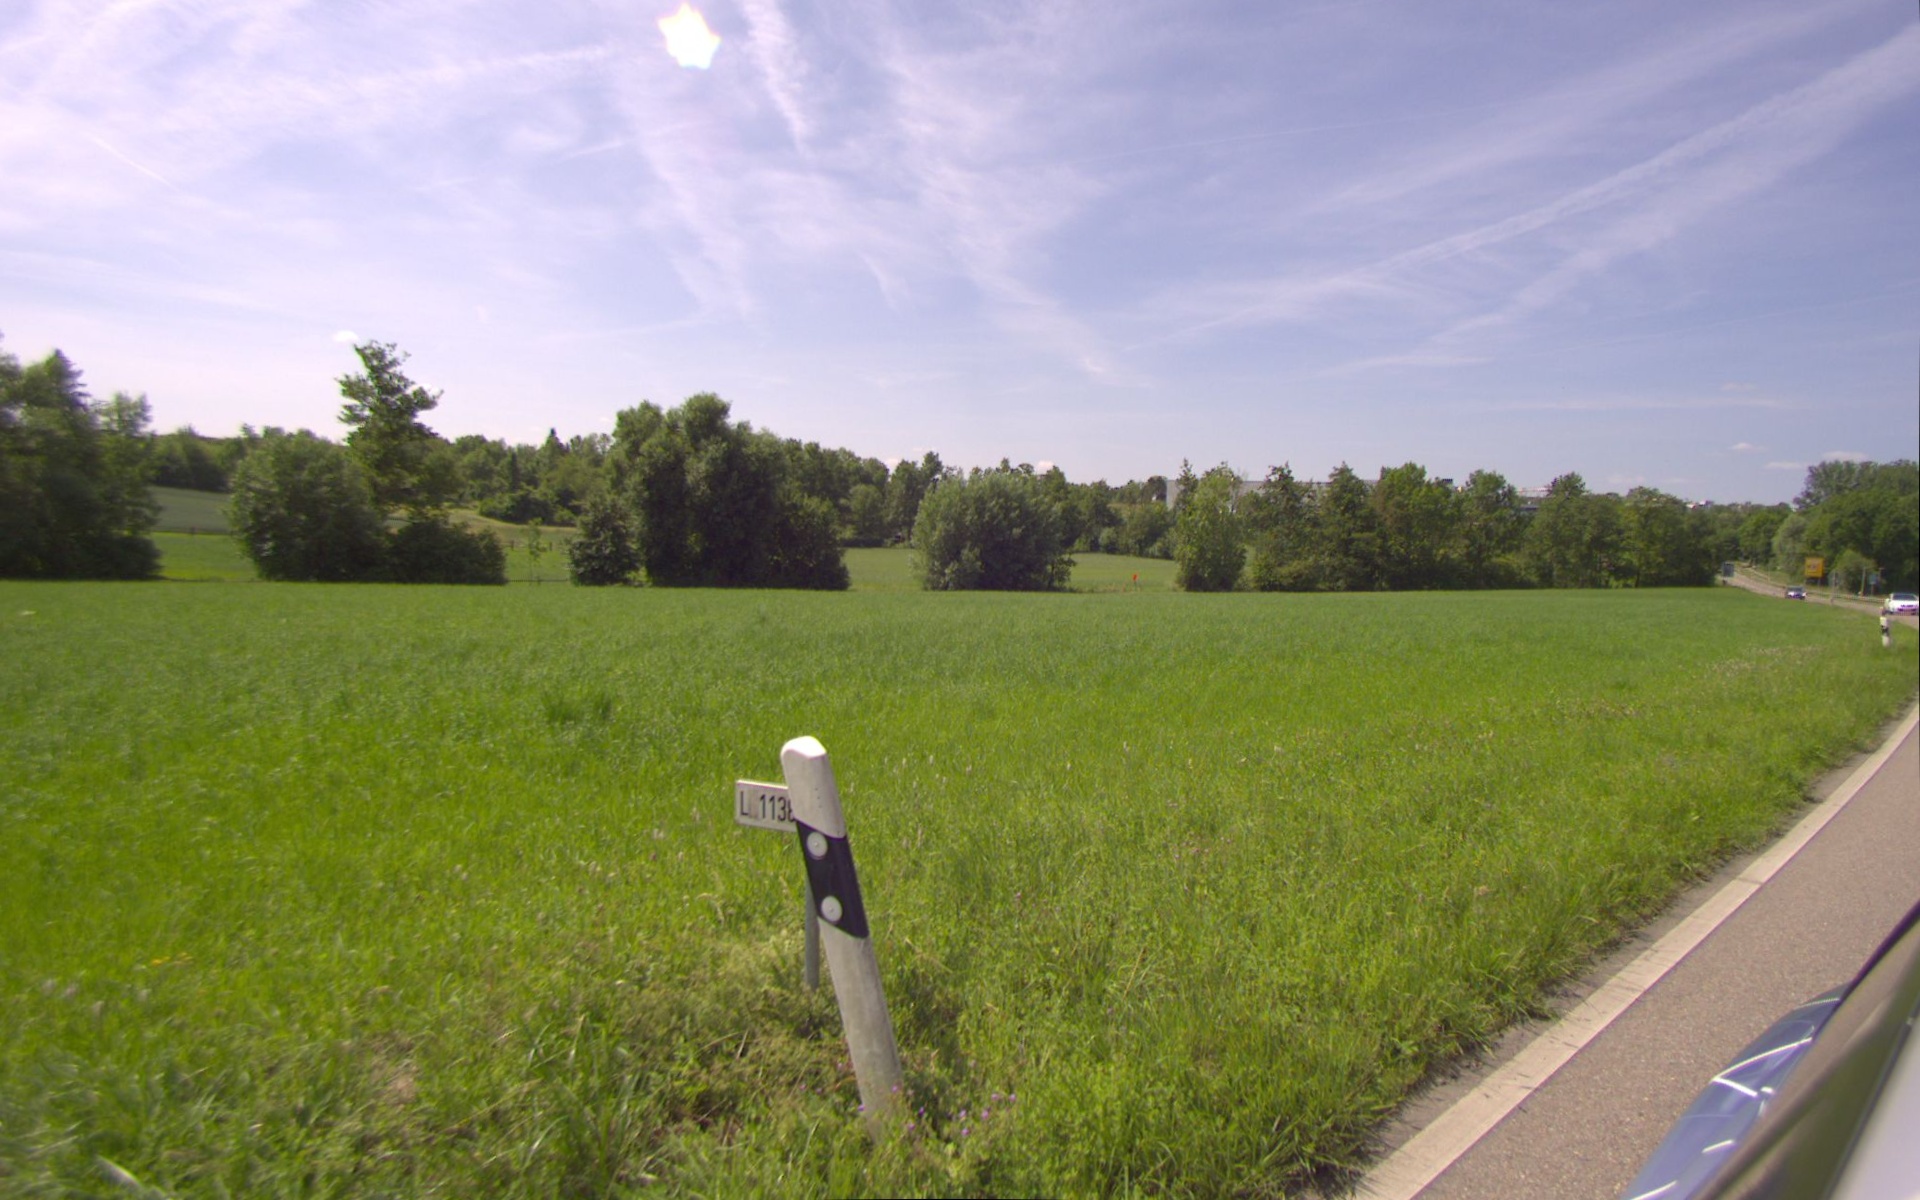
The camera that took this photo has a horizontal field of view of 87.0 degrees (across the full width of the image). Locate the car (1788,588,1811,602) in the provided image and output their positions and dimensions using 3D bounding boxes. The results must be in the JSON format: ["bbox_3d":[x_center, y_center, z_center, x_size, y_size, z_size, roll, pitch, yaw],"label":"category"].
[{"bbox_3d":[103.734,-0.631,125.088,1.990,1.604,3.944,3,2,38],"label":"car"}]

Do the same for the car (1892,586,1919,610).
[{"bbox_3d":[66.447,-0.151,70.436,1.990,1.604,3.945,2,2,38],"label":"car"}]
